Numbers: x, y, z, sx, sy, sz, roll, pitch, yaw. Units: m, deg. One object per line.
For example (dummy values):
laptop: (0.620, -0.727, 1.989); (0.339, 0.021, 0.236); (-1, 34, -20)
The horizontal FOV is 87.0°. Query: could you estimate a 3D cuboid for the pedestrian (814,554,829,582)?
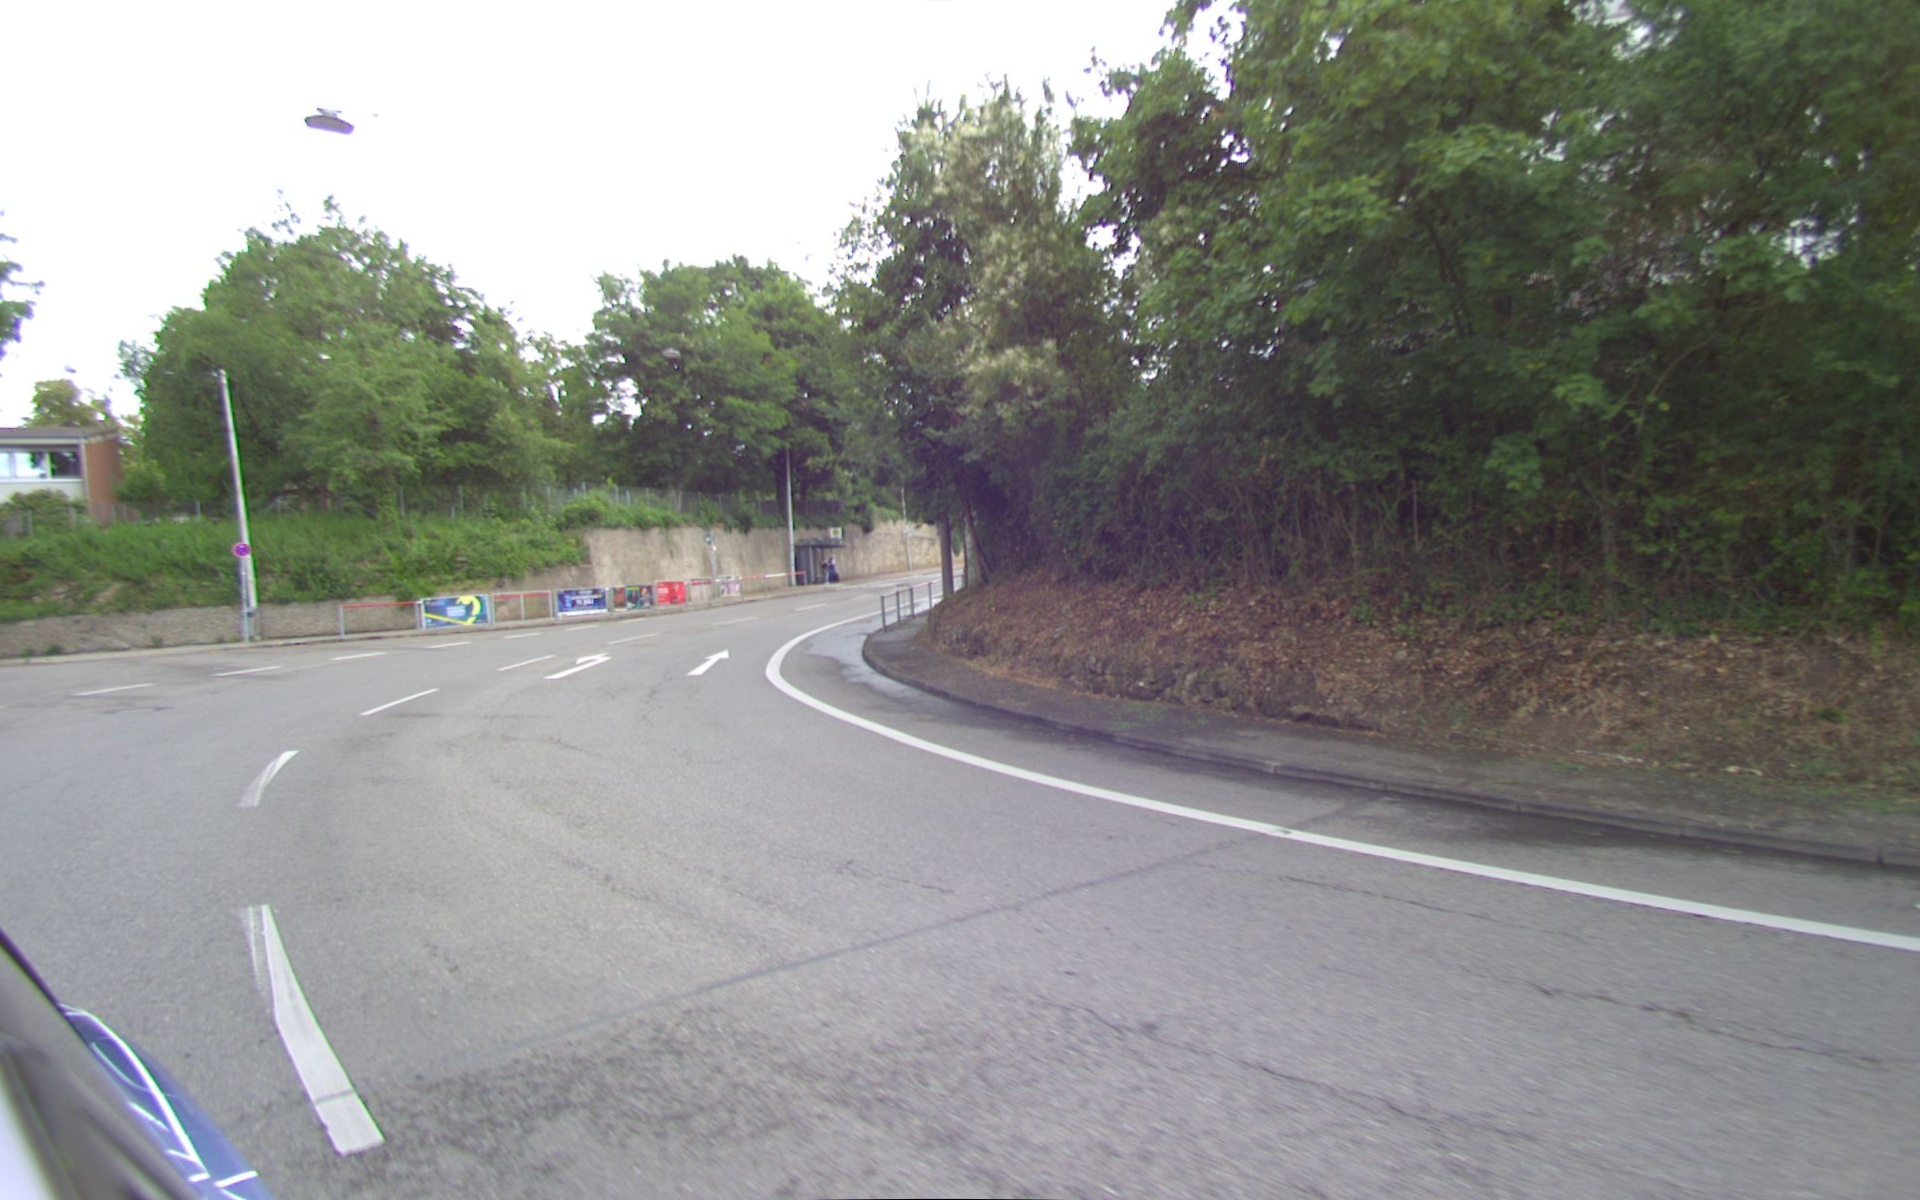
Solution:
pedestrian: (-8.395, -1.956, 61.239); (0.709, 1.652, 0.740); (-2, 3, 3)
